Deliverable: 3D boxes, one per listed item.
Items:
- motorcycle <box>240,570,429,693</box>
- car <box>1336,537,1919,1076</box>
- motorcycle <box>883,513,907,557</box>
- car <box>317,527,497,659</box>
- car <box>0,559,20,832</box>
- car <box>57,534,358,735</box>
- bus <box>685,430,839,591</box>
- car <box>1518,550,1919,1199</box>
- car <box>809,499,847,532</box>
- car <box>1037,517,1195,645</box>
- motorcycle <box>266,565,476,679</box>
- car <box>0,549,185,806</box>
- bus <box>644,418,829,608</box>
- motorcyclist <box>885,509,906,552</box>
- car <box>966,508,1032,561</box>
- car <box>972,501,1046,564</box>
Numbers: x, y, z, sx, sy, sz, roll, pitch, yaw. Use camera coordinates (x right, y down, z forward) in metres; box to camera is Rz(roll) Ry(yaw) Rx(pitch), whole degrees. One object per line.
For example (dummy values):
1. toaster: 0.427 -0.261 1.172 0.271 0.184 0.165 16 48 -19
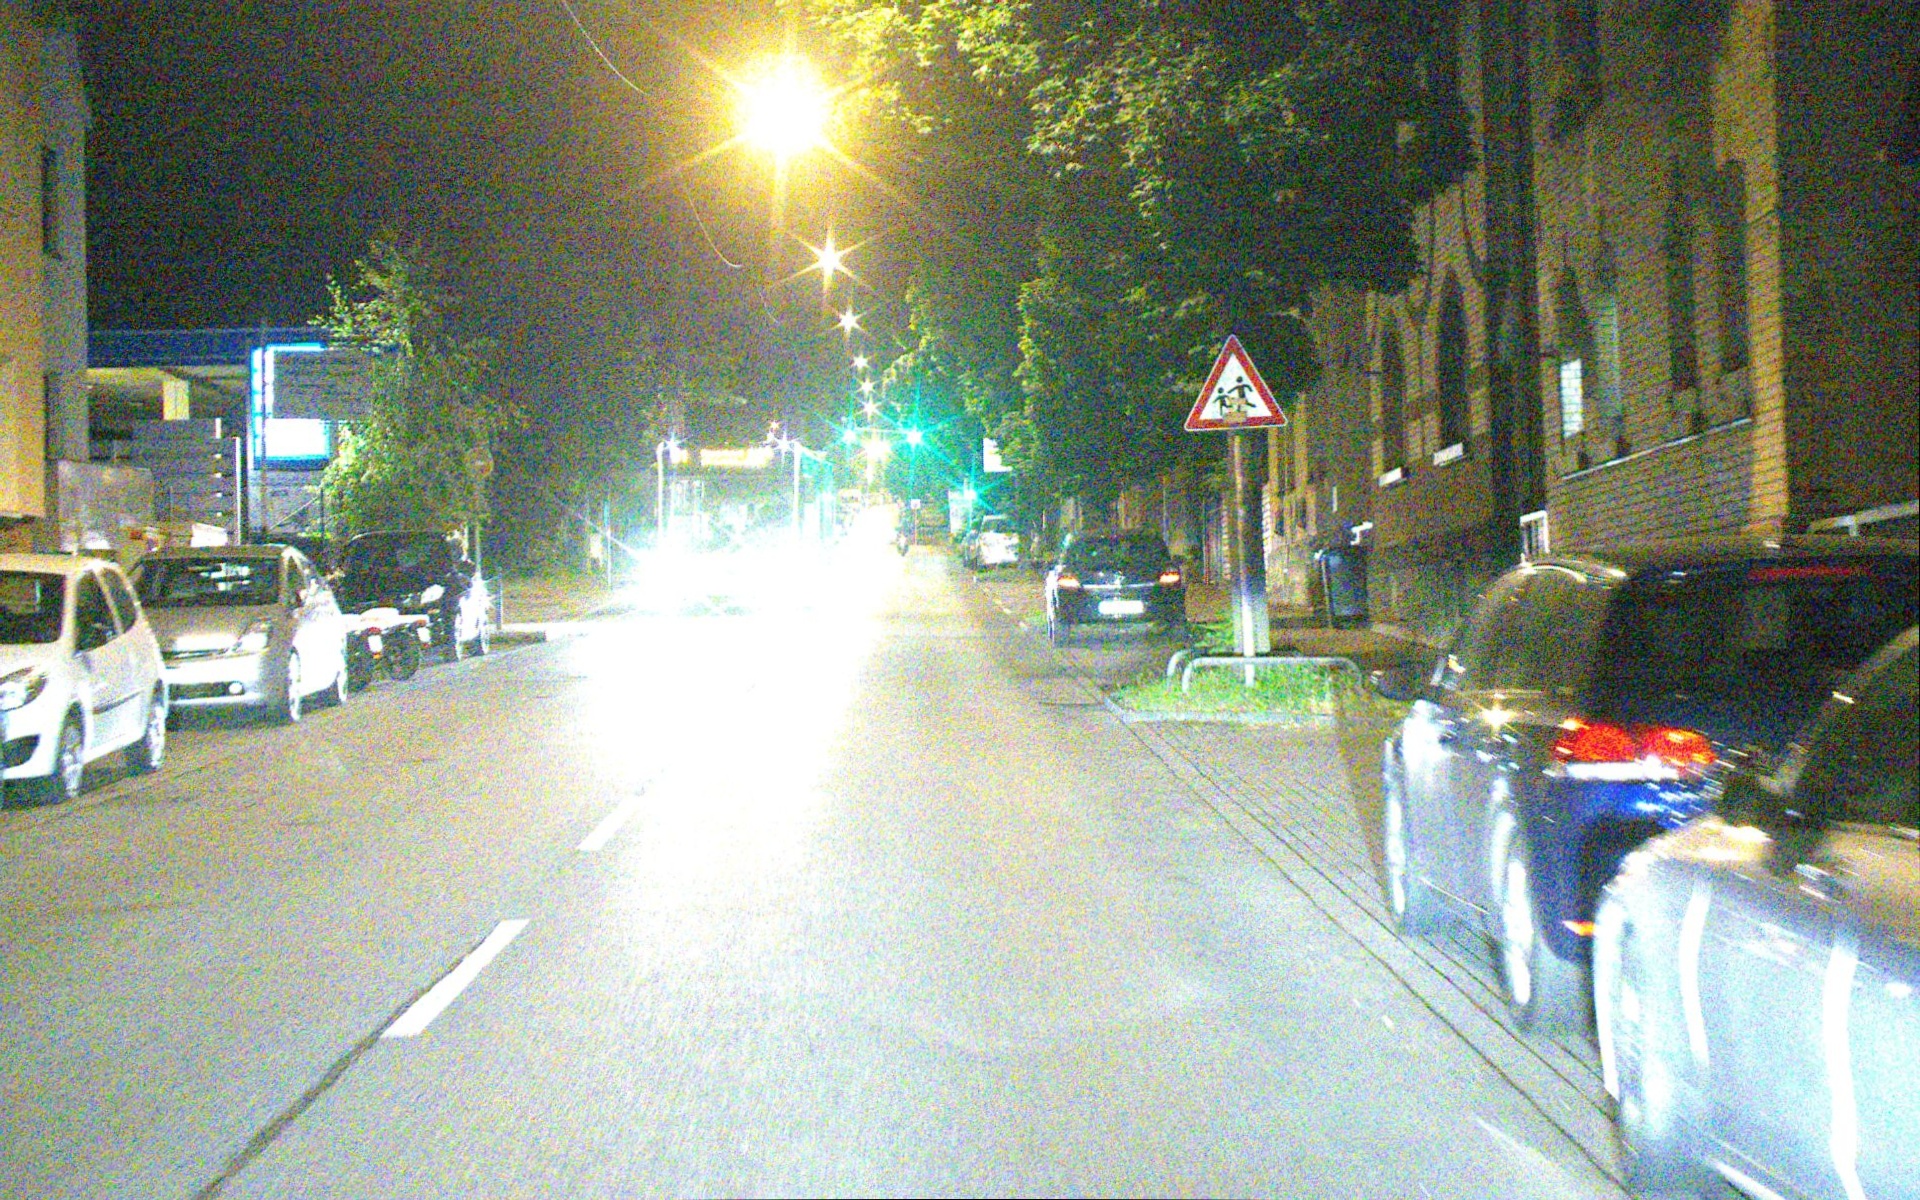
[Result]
1. motorcycle: -6.151 0.298 33.731 0.714 1.143 2.208 -3 2 -43
2. car: 2.448 0.540 11.608 1.771 1.443 4.020 -2 1 -1
3. motorcycle: -2.635 -2.638 139.972 0.931 1.746 2.625 0 1 -1
4. car: -6.577 -0.093 41.087 1.638 1.493 2.765 -1 1 1
5. car: -6.119 0.546 17.027 1.863 1.486 4.281 0 1 -2
6. car: -6.362 0.236 29.482 1.704 1.486 4.228 -3 2 -2
7. bus: -4.058 -1.886 72.027 2.837 3.166 7.661 0 2 0
8. car: 2.436 0.611 6.359 1.845 1.412 4.646 -4 1 -1
9. car: -7.100 -4.541 184.861 1.944 1.711 4.000 0 1 -1
10. car: 1.983 -0.288 44.729 1.763 1.471 4.081 -3 2 -1
11. motorcycle: -6.132 0.228 35.749 2.205 1.127 0.714 -1 2 32
12. car: -6.091 0.431 21.748 1.621 1.486 3.781 0 1 -2
13. bus: -3.948 -1.615 62.928 2.837 3.166 10.499 0 2 -1
14. motorcyclist: -2.639 -2.833 139.971 0.848 1.746 0.805 0 0 -1
15. car: 1.205 -2.051 106.951 1.868 1.521 4.150 -3 2 -1
16. car: 1.319 -1.861 93.620 1.812 1.588 4.274 -3 2 -1
